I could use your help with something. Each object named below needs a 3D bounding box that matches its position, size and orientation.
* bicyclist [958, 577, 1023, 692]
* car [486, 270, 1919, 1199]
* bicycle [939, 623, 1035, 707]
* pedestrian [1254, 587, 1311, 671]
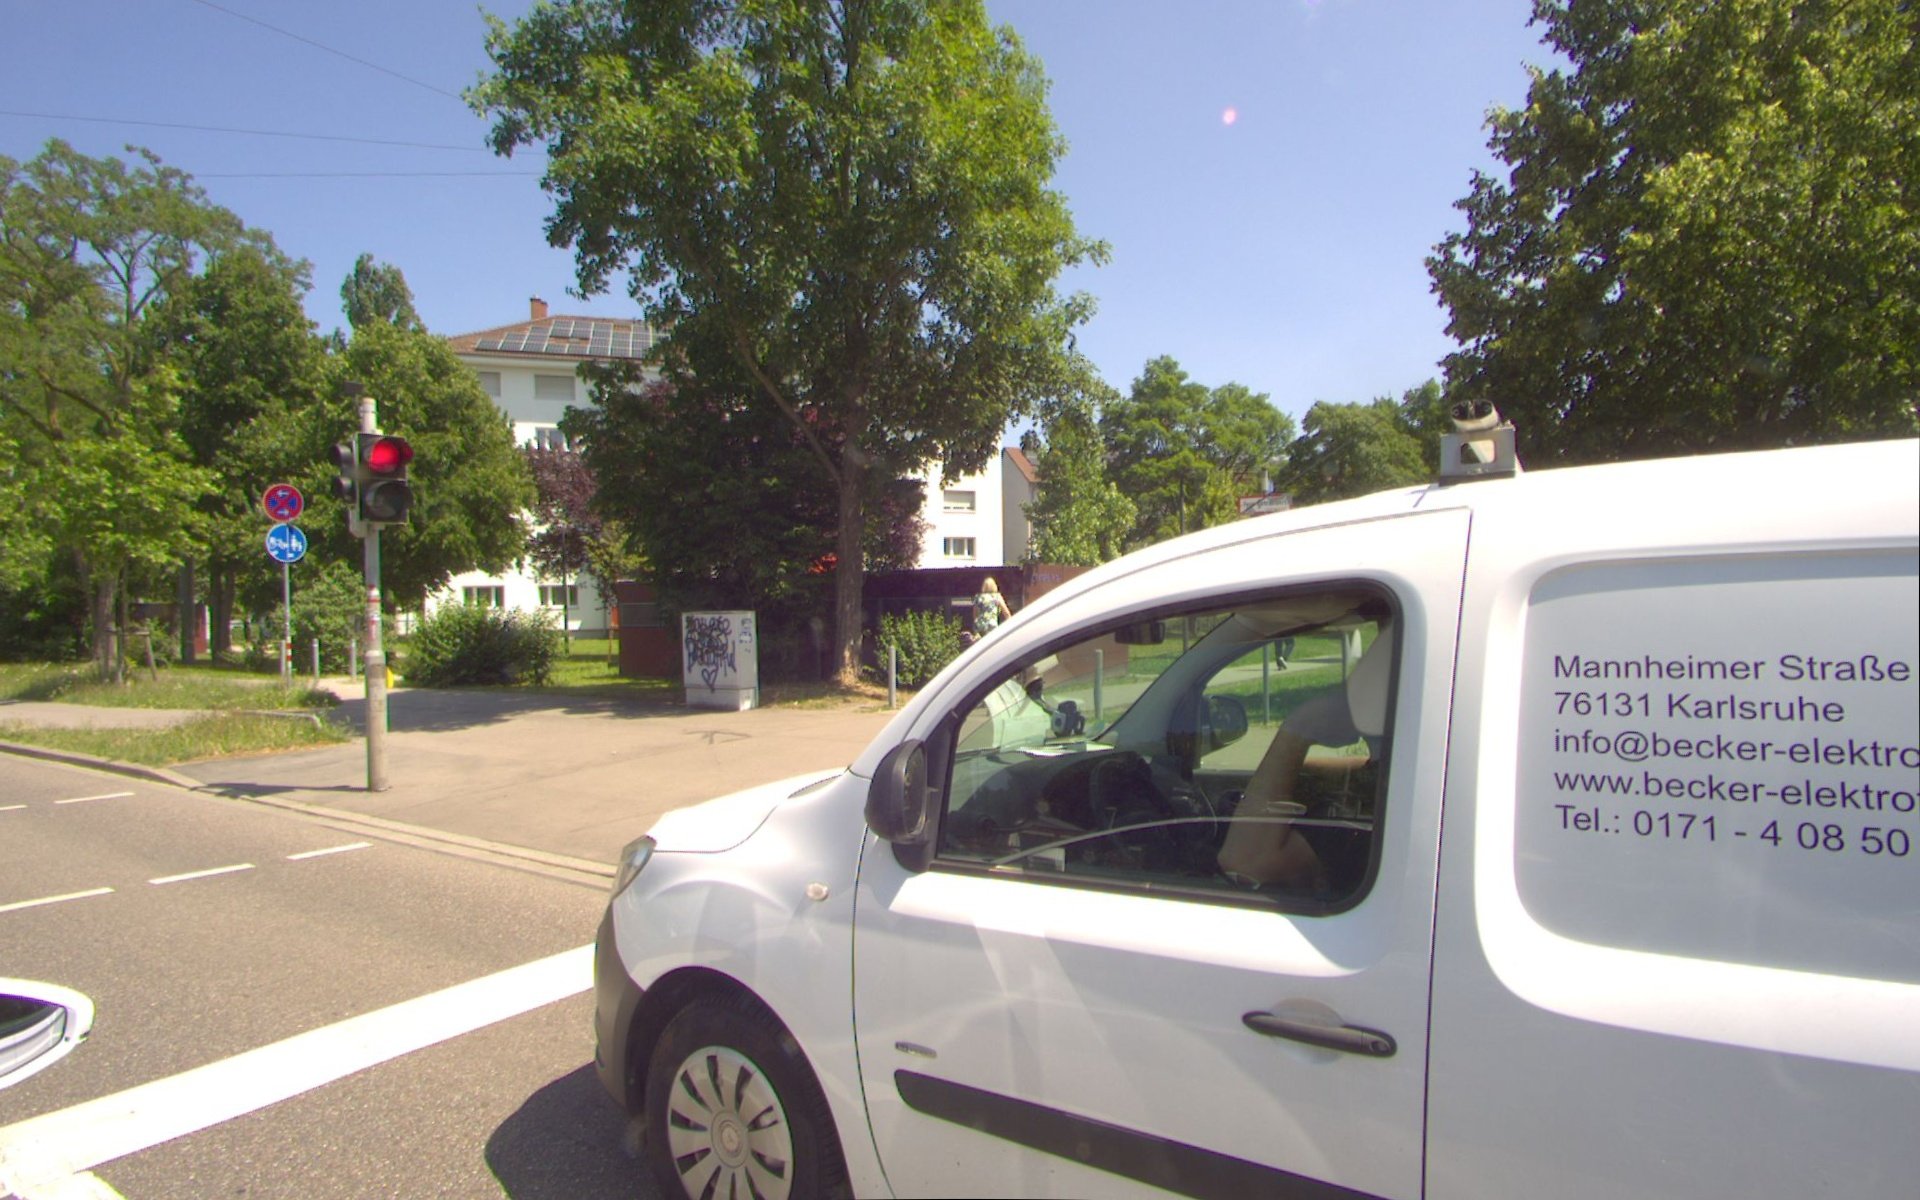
[{"bbox_3d":[0.466,0.513,15.155,0.572,1.689,0.955,0,0,32],"label":"bicyclist"},{"bbox_3d":[1.129,0.565,2.304,4.384,1.850,1.990,-1,0,32],"label":"car"},{"bbox_3d":[0.435,0.946,15.099,0.533,1.176,1.954,0,-1,32],"label":"bicycle"},{"bbox_3d":[7.218,0.639,22.398,0.829,1.801,1.180,-2,1,36],"label":"pedestrian"}]
